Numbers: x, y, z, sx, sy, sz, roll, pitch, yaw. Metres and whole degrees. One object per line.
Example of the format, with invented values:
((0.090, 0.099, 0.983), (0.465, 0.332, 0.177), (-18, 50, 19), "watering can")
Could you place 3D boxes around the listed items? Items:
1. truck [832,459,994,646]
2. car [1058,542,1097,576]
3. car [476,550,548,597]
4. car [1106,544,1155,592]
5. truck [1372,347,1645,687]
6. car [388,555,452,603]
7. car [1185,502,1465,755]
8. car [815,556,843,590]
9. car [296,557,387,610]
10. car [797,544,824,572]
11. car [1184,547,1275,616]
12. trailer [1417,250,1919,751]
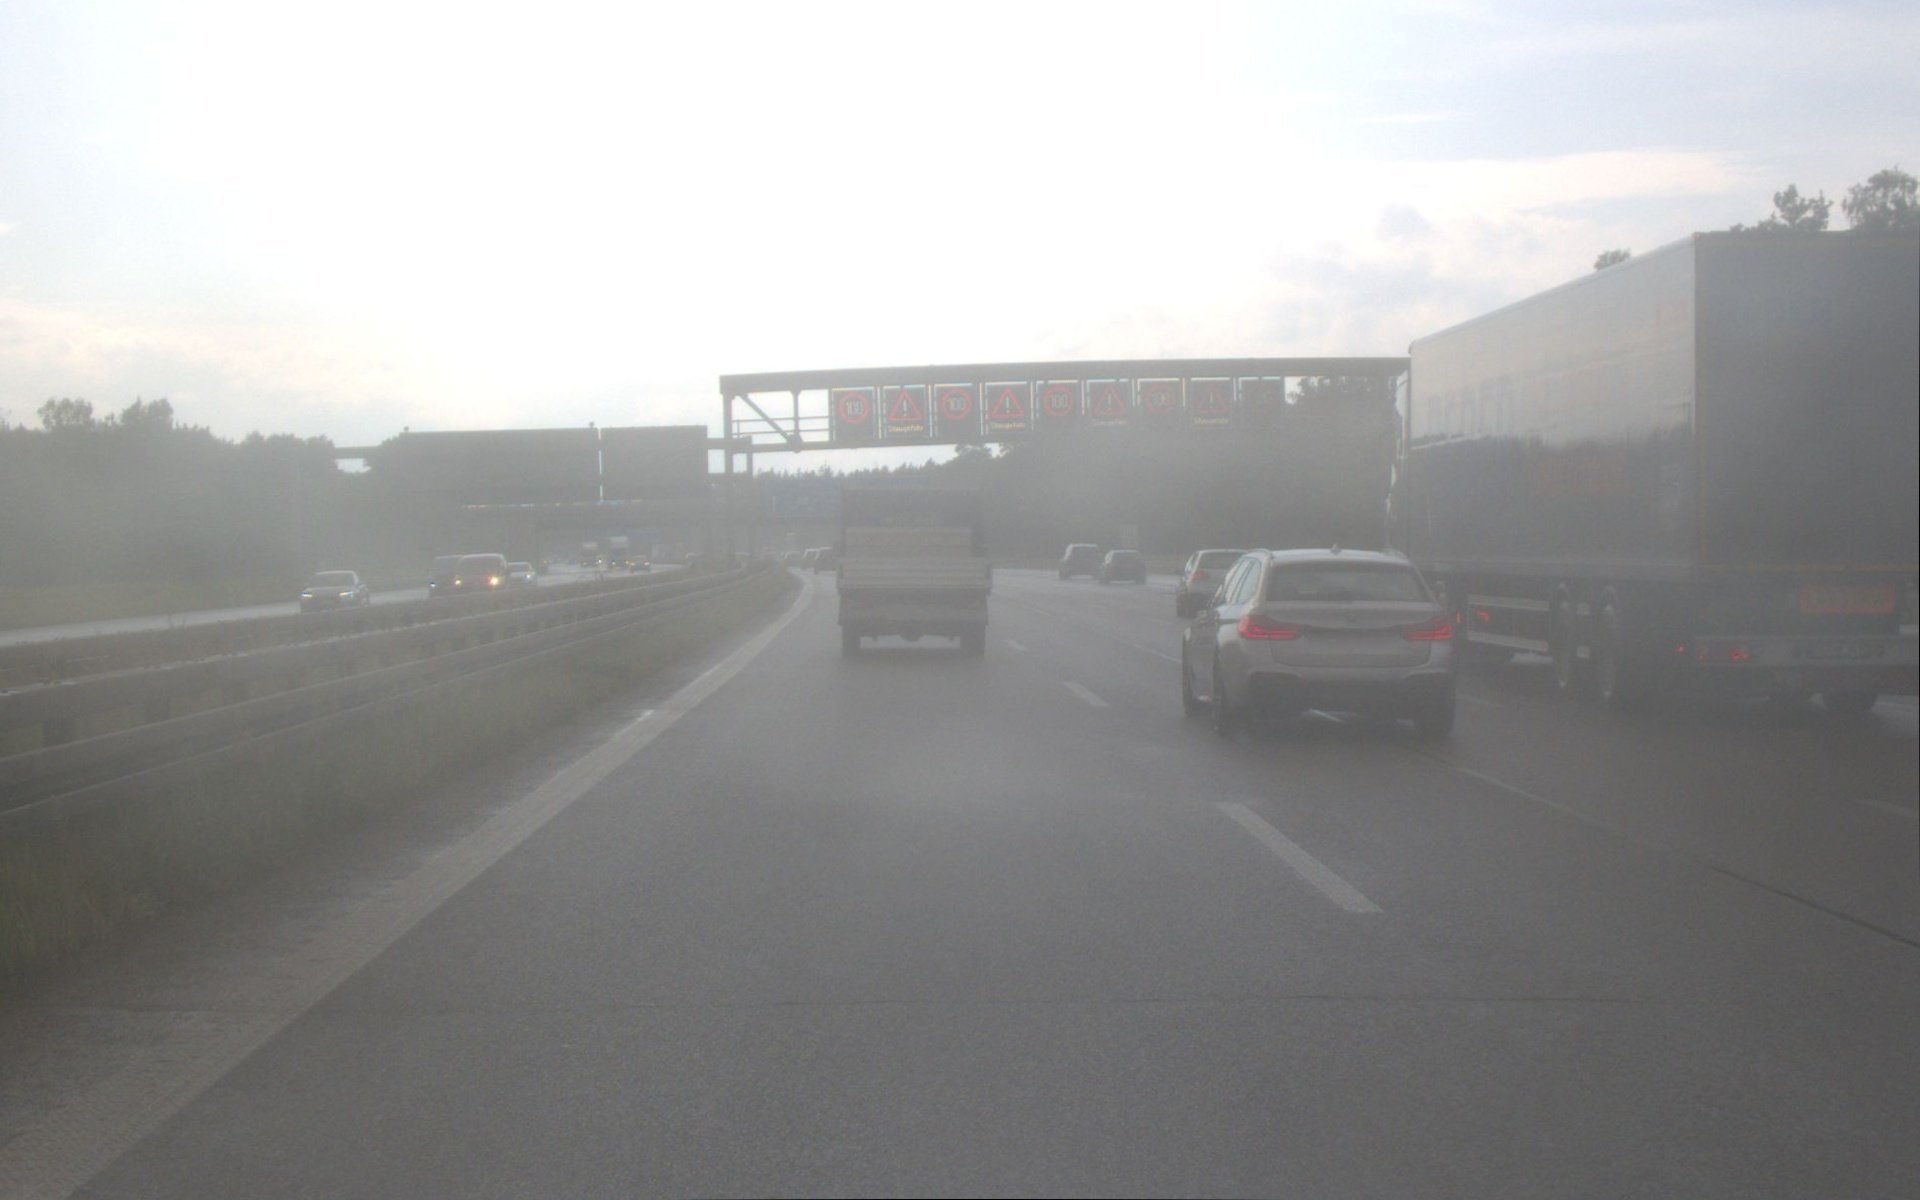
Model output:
((-0.598, -0.680, 48.361), (2.137, 2.480, 5.313), (0, 1, 1), "truck")
((5.872, -2.069, 172.113), (1.740, 1.683, 4.000), (0, 1, -2), "car")
((-15.553, -0.951, 119.593), (1.993, 1.604, 4.609), (0, 1, -1), "car")
((7.342, -1.380, 148.197), (1.993, 2.007, 4.000), (1, 1, 2), "car")
((6.542, -0.984, 41.681), (2.293, 3.854, 5.393), (0, 1, -2), "truck")
((-22.879, -0.911, 145.868), (1.993, 1.910, 4.724), (-3, 1, -2), "car")
((2.923, 0.157, 28.351), (2.078, 1.878, 5.011), (1, 1, 4), "car")
((-8.030, -1.678, 210.754), (1.617, 2.007, 4.001), (1, 1, -2), "car")
((-19.085, -0.520, 106.252), (1.993, 1.495, 4.609), (-3, 1, -1), "car")
((-11.170, -3.157, 256.589), (1.794, 2.007, 4.000), (1, 1, 0), "car")
((5.866, -0.422, 75.194), (1.831, 1.461, 4.000), (0, 1, 3), "car")
((6.786, -0.896, 34.114), (2.323, 3.988, 13.413), (0, 1, -2), "trailer")
